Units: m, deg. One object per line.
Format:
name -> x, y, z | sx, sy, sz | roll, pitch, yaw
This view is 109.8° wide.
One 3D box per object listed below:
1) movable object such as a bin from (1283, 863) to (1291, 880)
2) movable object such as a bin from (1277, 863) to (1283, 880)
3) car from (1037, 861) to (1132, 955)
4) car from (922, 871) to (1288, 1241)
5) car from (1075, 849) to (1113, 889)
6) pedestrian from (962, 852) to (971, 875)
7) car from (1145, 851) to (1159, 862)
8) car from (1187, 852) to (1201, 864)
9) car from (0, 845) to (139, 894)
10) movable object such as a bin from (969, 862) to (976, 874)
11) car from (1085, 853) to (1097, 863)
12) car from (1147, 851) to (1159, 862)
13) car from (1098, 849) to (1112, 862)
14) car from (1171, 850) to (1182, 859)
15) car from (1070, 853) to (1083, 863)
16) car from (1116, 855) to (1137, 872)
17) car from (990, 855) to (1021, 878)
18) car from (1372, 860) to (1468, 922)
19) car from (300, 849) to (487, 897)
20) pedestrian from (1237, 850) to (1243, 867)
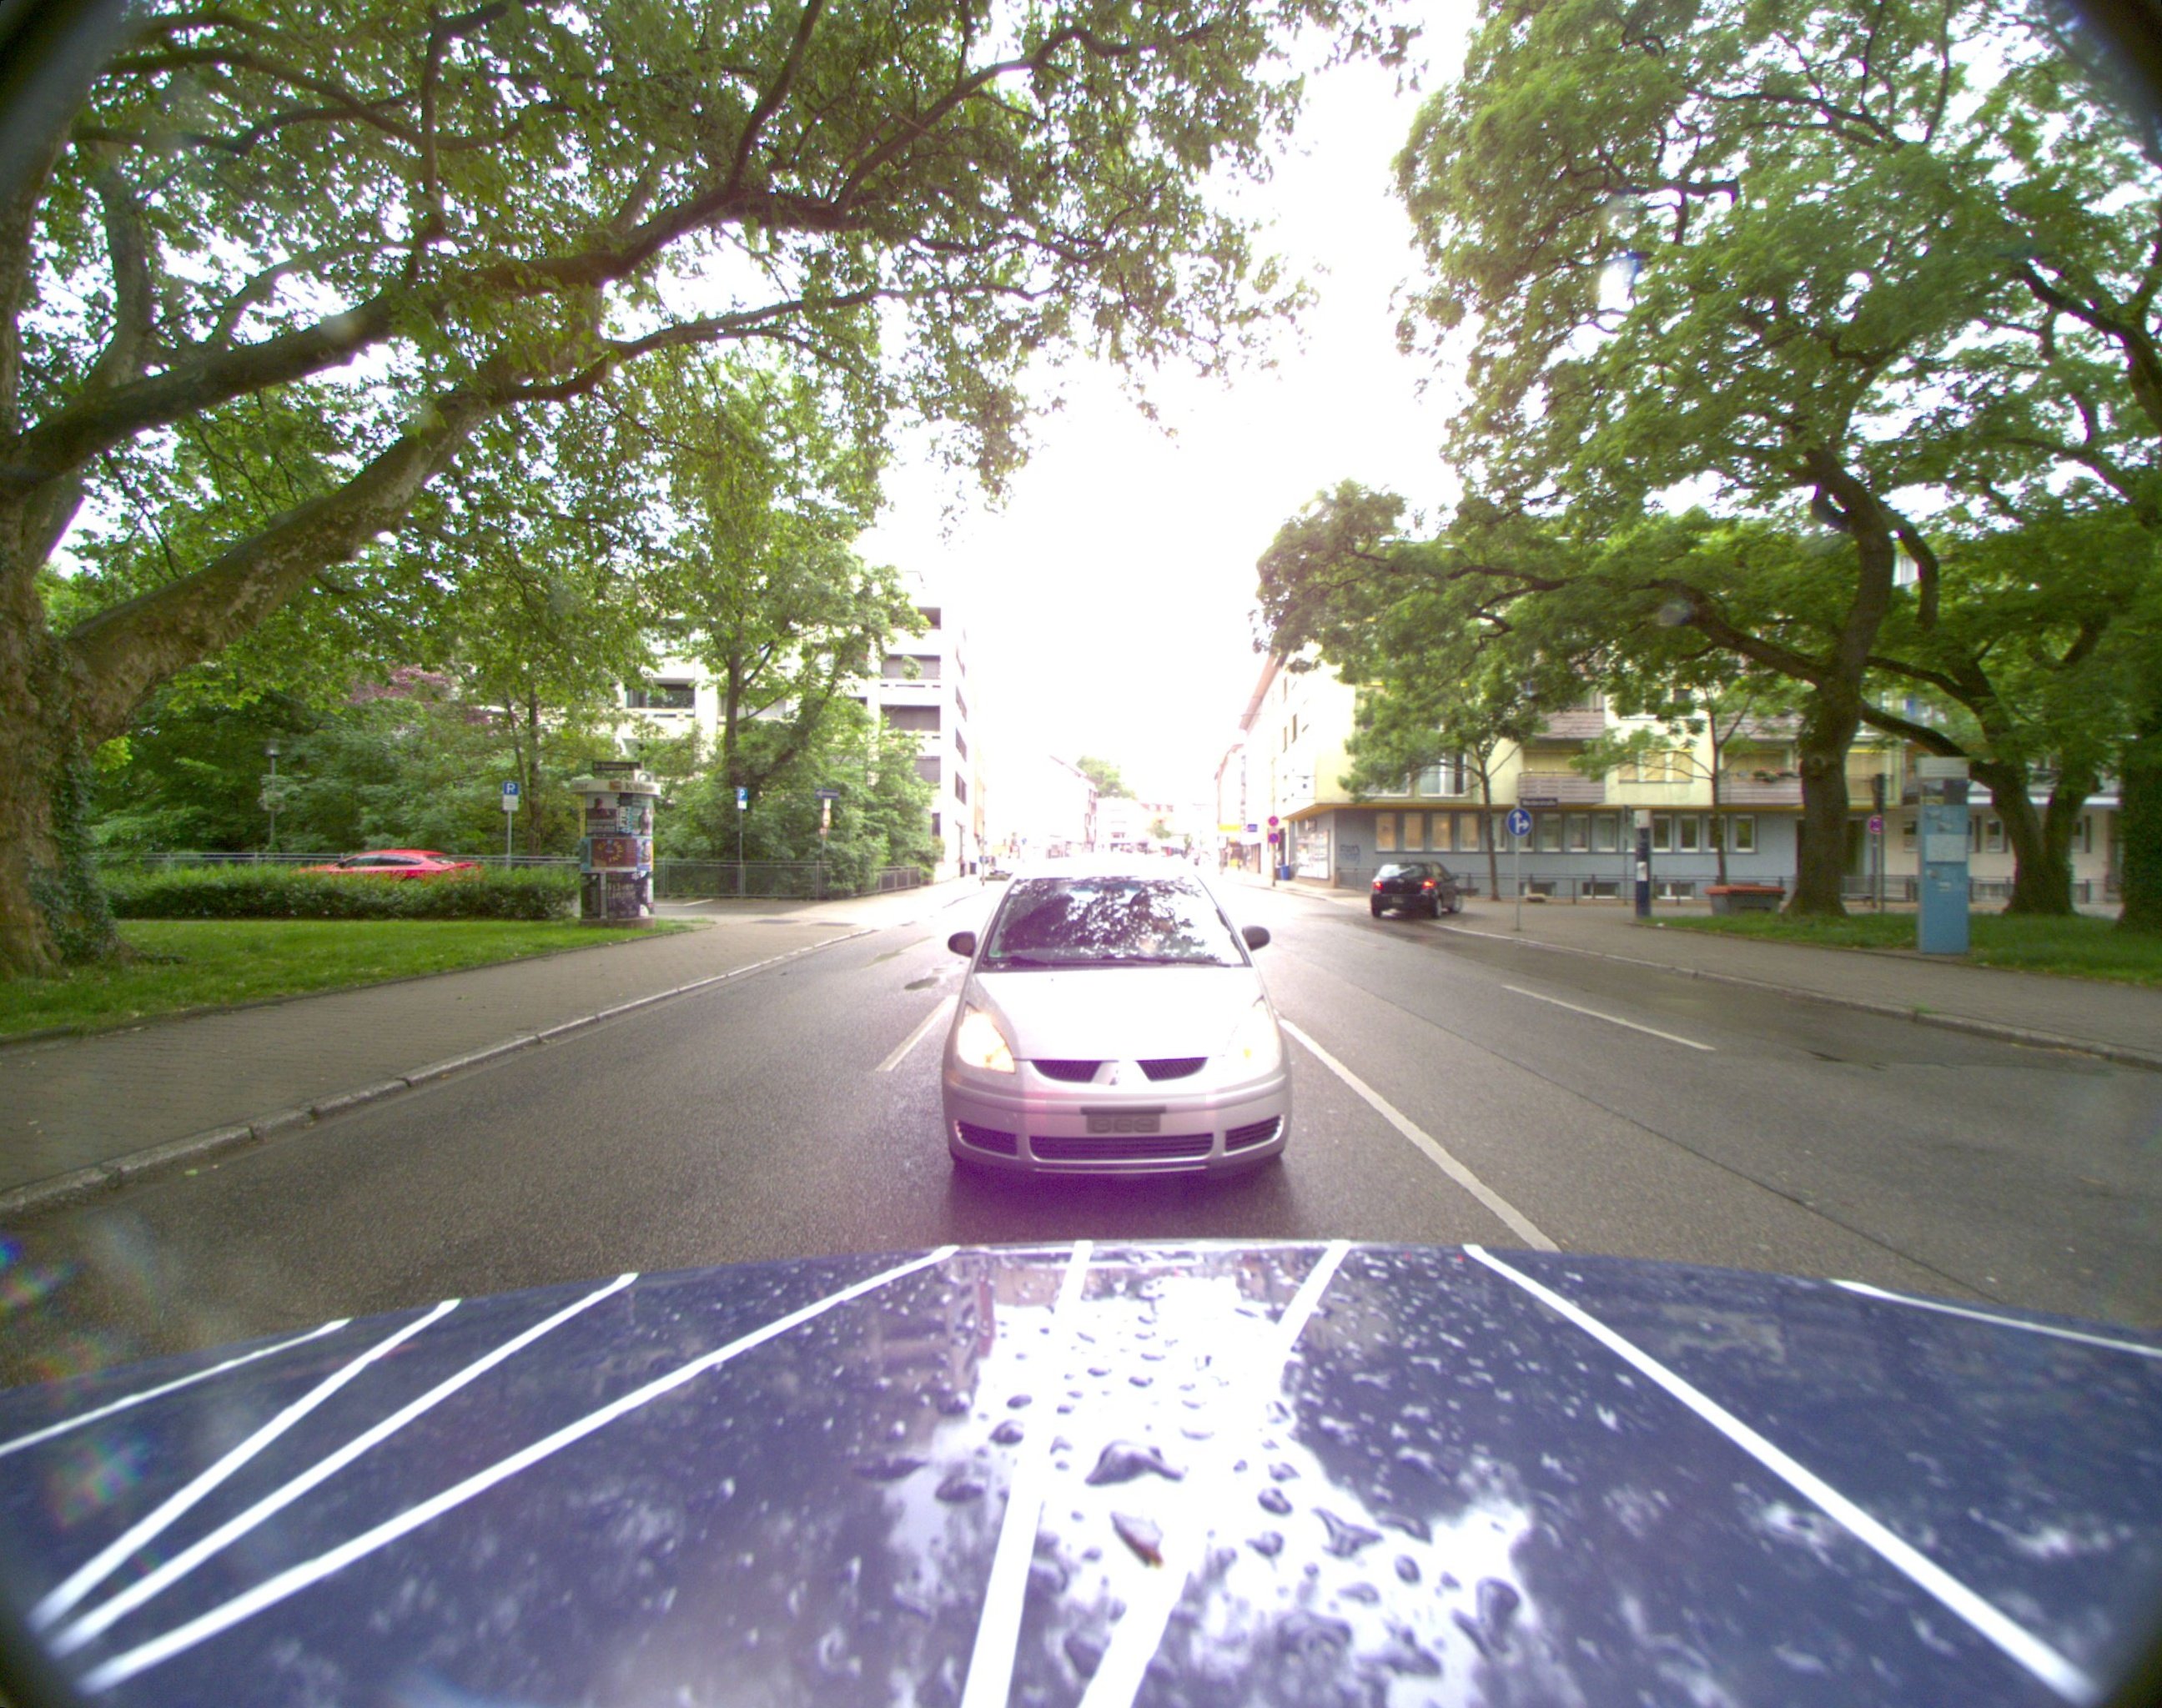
movable object such as a bin -> 13.091, 1.103, 48.266 | 0.415, 1.023, 0.353 | 1, 1, 8
movable object such as a bin -> 12.713, 1.116, 48.596 | 0.338, 1.023, 0.353 | 1, 1, 8
car -> 0.133, 0.931, 14.775 | 1.590, 1.540, 3.771 | 1, 0, 2
car -> 0.132, 0.932, 4.970 | 1.576, 1.514, 3.241 | -1, 0, 1
car -> 0.541, 0.644, 34.200 | 1.584, 1.705, 3.649 | 1, 0, 0
pedestrian -> -7.964, 0.655, 52.663 | 0.480, 1.521, 0.481 | -2, 1, 1
car -> 10.790, 0.435, 115.954 | 1.998, 1.631, 4.001 | 1, 0, 4
car -> 18.003, 0.632, 121.366 | 1.889, 1.707, 4.001 | 1, 0, 4
car -> -29.117, 0.411, 21.259 | 3.468, 1.271, 1.448 | 1, 1, -5
movable object such as a bin -> -8.983, 1.169, 62.934 | 0.556, 1.035, 0.292 | 1, 1, 0
car -> 1.586, 0.633, 120.016 | 1.802, 1.433, 3.897 | 1, 0, 1
car -> 12.523, 0.387, 133.149 | 1.998, 1.841, 4.001 | 1, 0, 4
car -> 3.527, 0.156, 113.208 | 1.935, 1.817, 3.999 | -2, 1, 0
car -> 17.552, 0.061, 140.108 | 1.867, 1.648, 4.001 | 1, 0, 4
car -> -0.663, 0.520, 113.419 | 1.802, 1.433, 3.896 | 1, 0, 0
car -> 4.105, 0.823, 68.887 | 1.701, 1.433, 3.897 | 1, 0, 1
car -> -5.304, 0.863, 53.507 | 1.681, 1.424, 3.681 | 3, 0, 1
car -> 9.204, 0.933, 20.485 | 1.567, 1.479, 3.575 | 2, 1, 37
car -> -19.417, 0.519, 21.578 | 3.790, 1.271, 1.576 | 1, 1, -3
pedestrian -> 17.568, 0.524, 84.051 | 0.594, 1.833, 0.565 | 1, 1, 8
